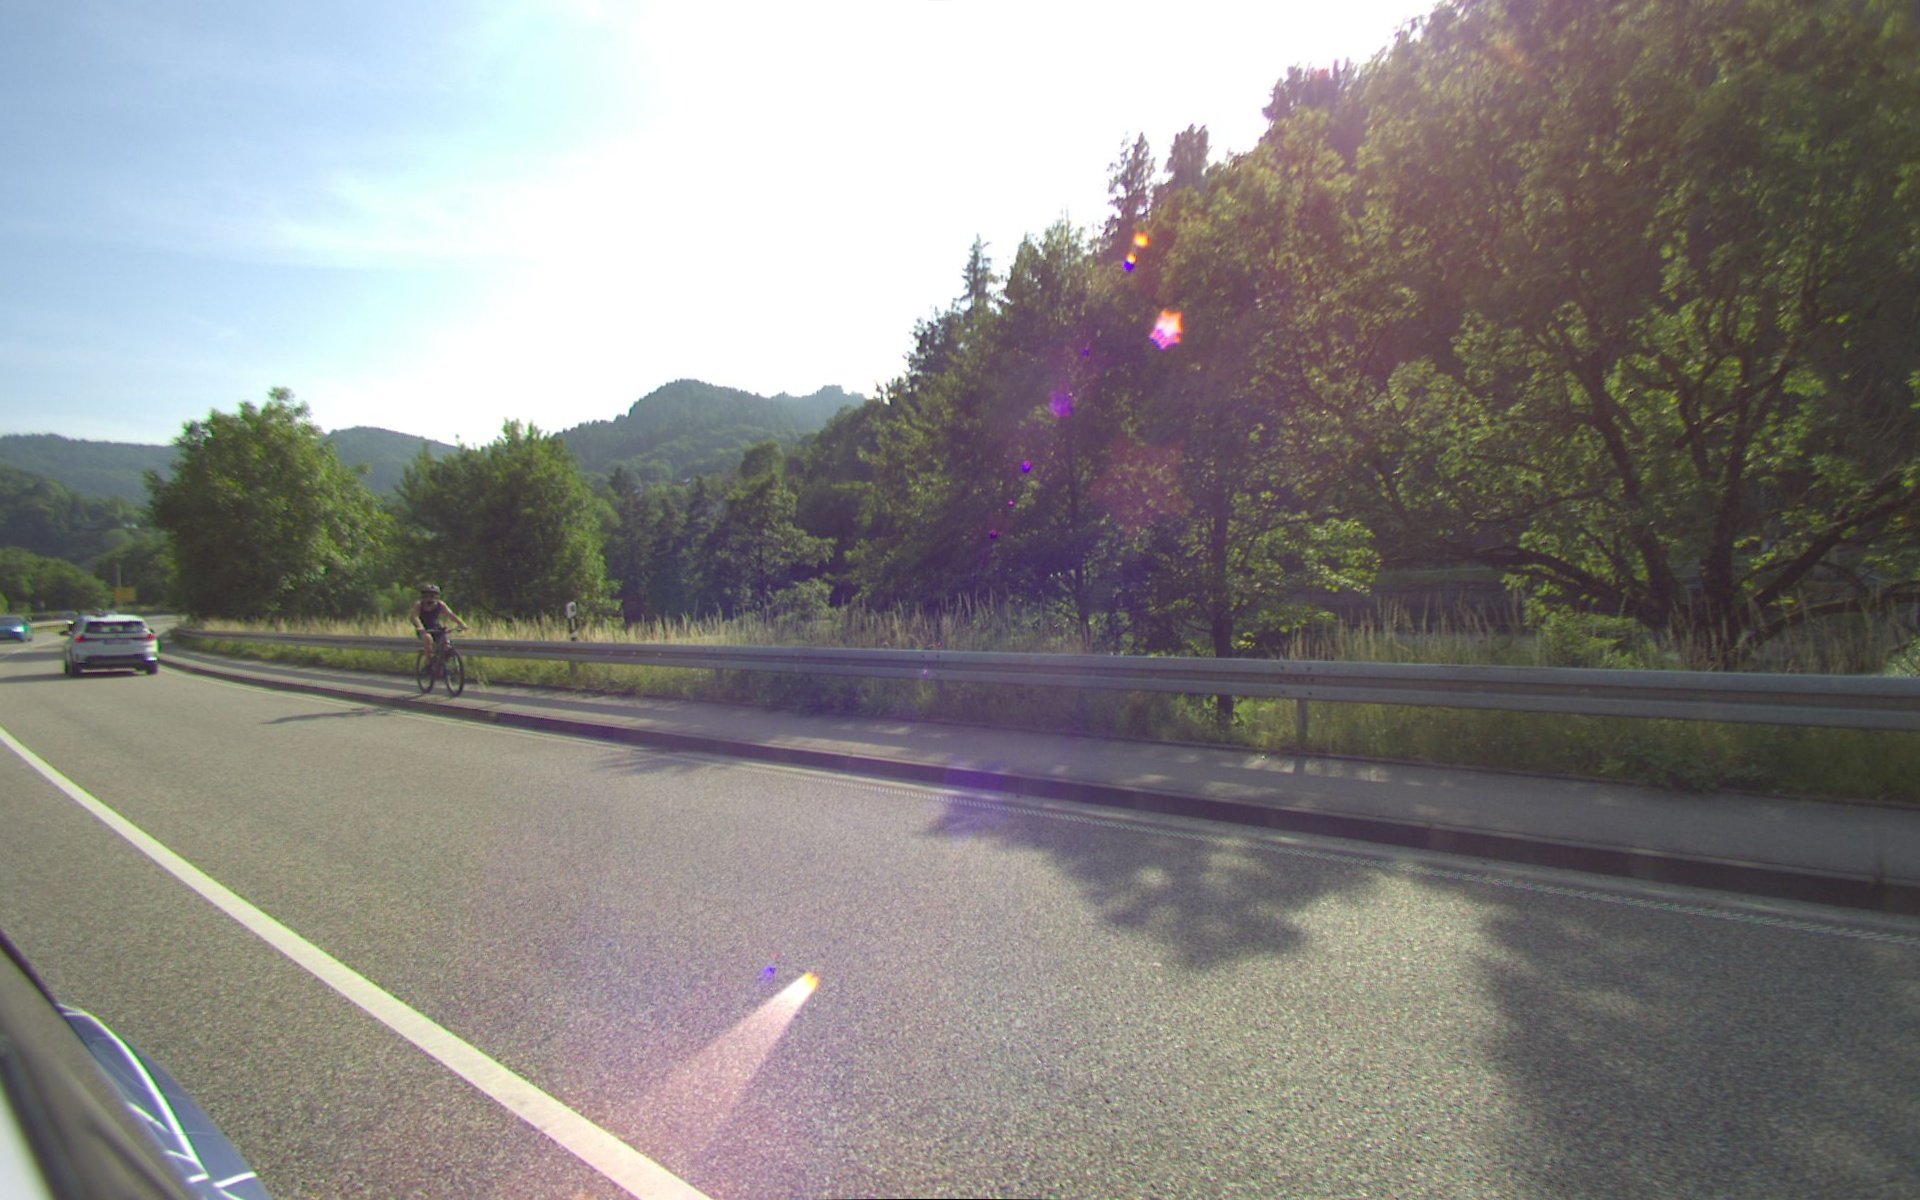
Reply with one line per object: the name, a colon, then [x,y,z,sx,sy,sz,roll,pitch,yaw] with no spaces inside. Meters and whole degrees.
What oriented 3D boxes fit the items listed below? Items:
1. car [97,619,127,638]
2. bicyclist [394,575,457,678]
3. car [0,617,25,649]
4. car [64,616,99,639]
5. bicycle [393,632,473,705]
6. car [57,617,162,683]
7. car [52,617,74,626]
car: [-82.463,2.766,98.461,1.855,1.758,4.189,-1,0,-35]
bicyclist: [-8.783,0.423,16.621,0.551,1.598,1.037,-7,3,-41]
car: [-54.686,1.874,57.637,1.856,1.758,4.186,-1,0,-39]
car: [-71.086,2.229,81.921,1.856,1.758,4.187,-1,0,-37]
bicycle: [-8.635,1.085,16.542,0.551,1.053,2.232,-7,3,-42]
car: [-23.178,1.293,27.541,1.970,1.642,4.004,0,-1,-43]
car: [-146.083,3.494,164.799,3.987,1.490,1.566,-2,-1,32]
